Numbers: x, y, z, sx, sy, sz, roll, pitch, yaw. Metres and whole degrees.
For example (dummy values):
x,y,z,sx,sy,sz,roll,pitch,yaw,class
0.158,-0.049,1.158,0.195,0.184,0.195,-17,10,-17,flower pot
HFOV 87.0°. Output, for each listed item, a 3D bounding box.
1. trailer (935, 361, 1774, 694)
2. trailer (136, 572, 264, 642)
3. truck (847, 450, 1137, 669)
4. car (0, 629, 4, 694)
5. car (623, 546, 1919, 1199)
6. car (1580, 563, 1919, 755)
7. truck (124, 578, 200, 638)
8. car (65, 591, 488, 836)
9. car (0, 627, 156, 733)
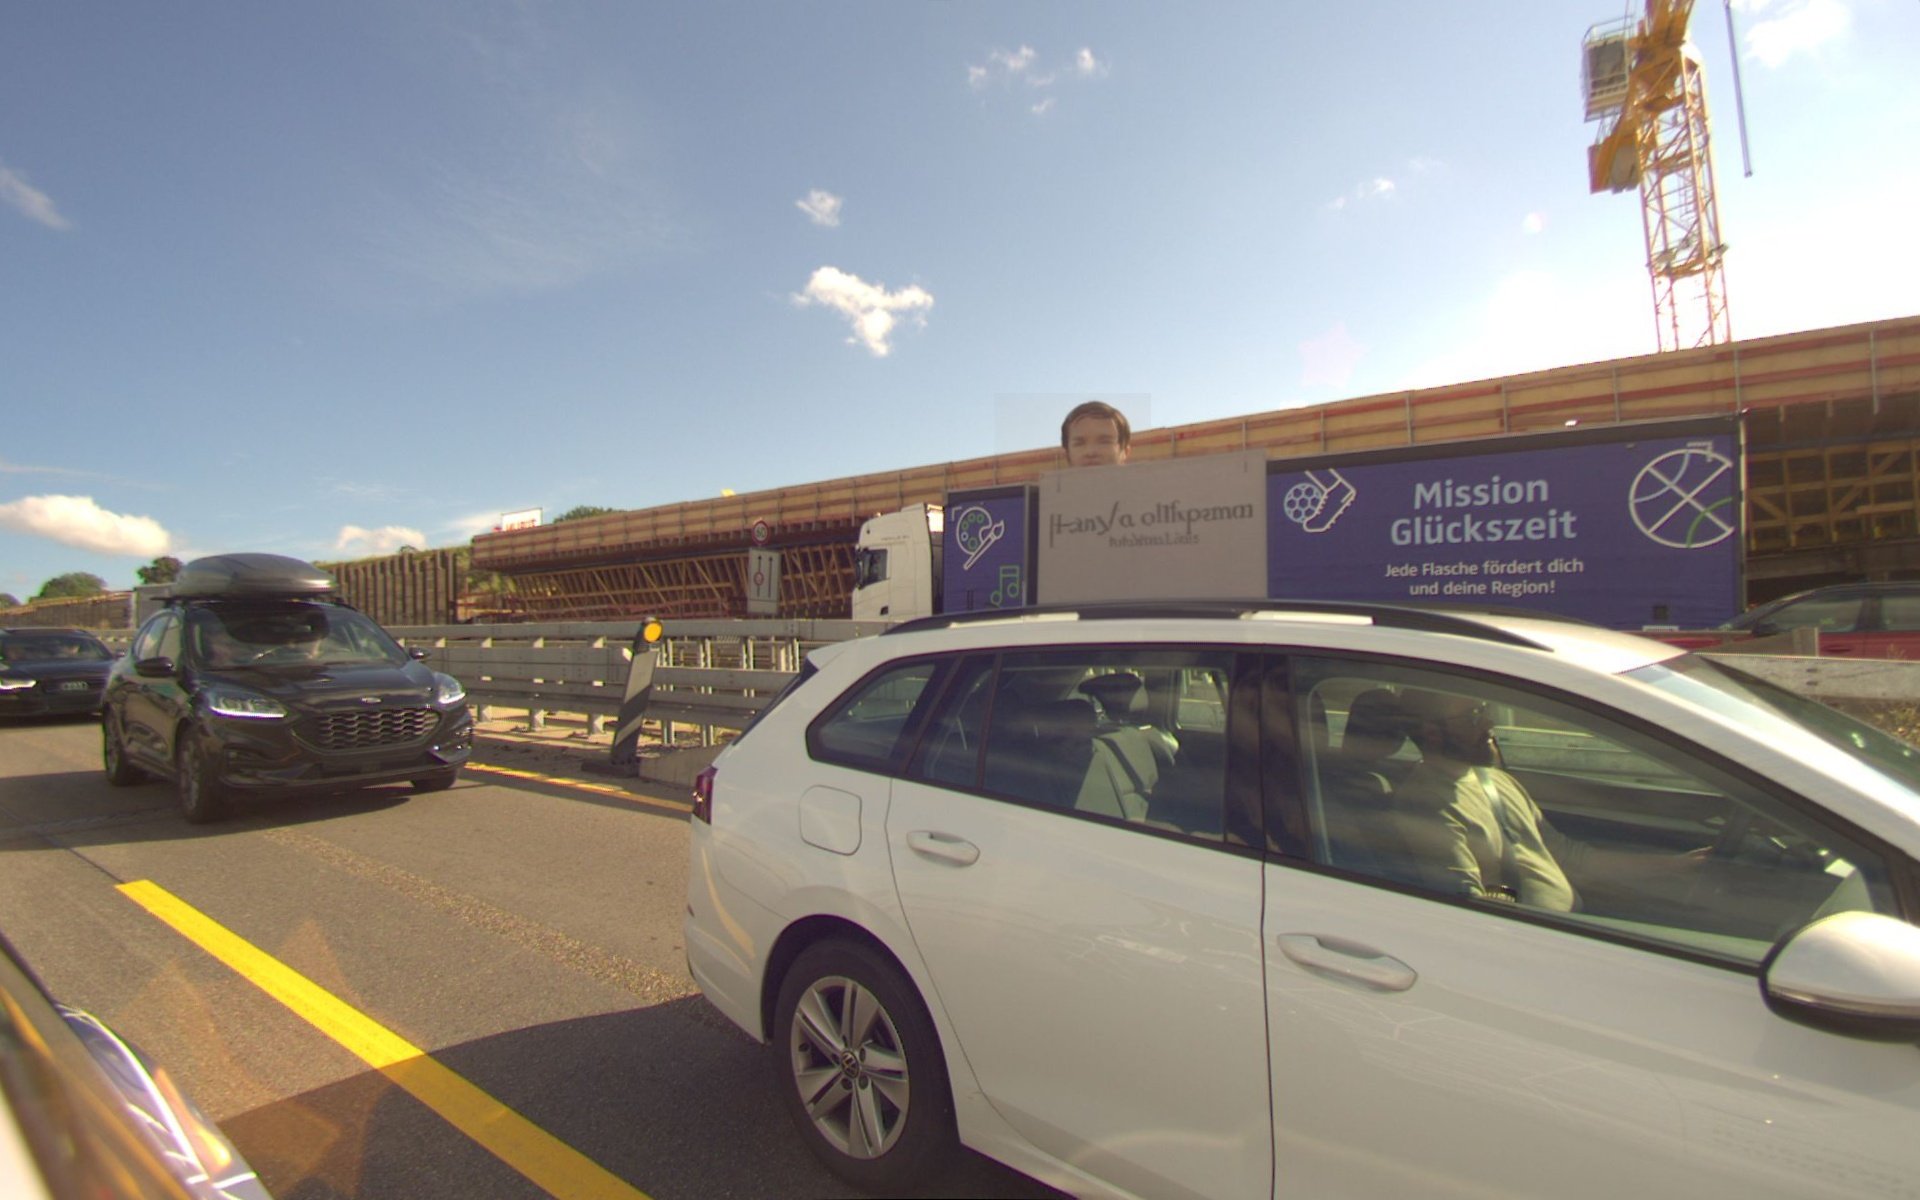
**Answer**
x,y,z,sx,sy,sz,roll,pitch,yaw,class
5.664,-0.835,18.116,13.797,4.187,2.661,-1,0,39,trailer
-44.407,0.437,58.866,13.515,3.694,2.834,-1,0,39,trailer
0.578,-0.748,22.262,5.965,4.168,2.685,-1,0,39,truck
-23.503,1.479,23.127,4.405,1.441,1.924,-4,-1,40,car
1.283,0.709,2.221,4.513,1.502,1.752,0,-2,40,car
9.079,0.546,10.472,4.323,1.780,1.904,-1,0,40,car
-50.096,0.495,63.510,4.806,3.656,2.814,-1,0,40,truck
-5.900,0.776,8.512,4.380,1.554,1.782,-2,-1,40,car
-14.787,1.187,16.334,4.500,1.441,1.925,0,-1,39,car
